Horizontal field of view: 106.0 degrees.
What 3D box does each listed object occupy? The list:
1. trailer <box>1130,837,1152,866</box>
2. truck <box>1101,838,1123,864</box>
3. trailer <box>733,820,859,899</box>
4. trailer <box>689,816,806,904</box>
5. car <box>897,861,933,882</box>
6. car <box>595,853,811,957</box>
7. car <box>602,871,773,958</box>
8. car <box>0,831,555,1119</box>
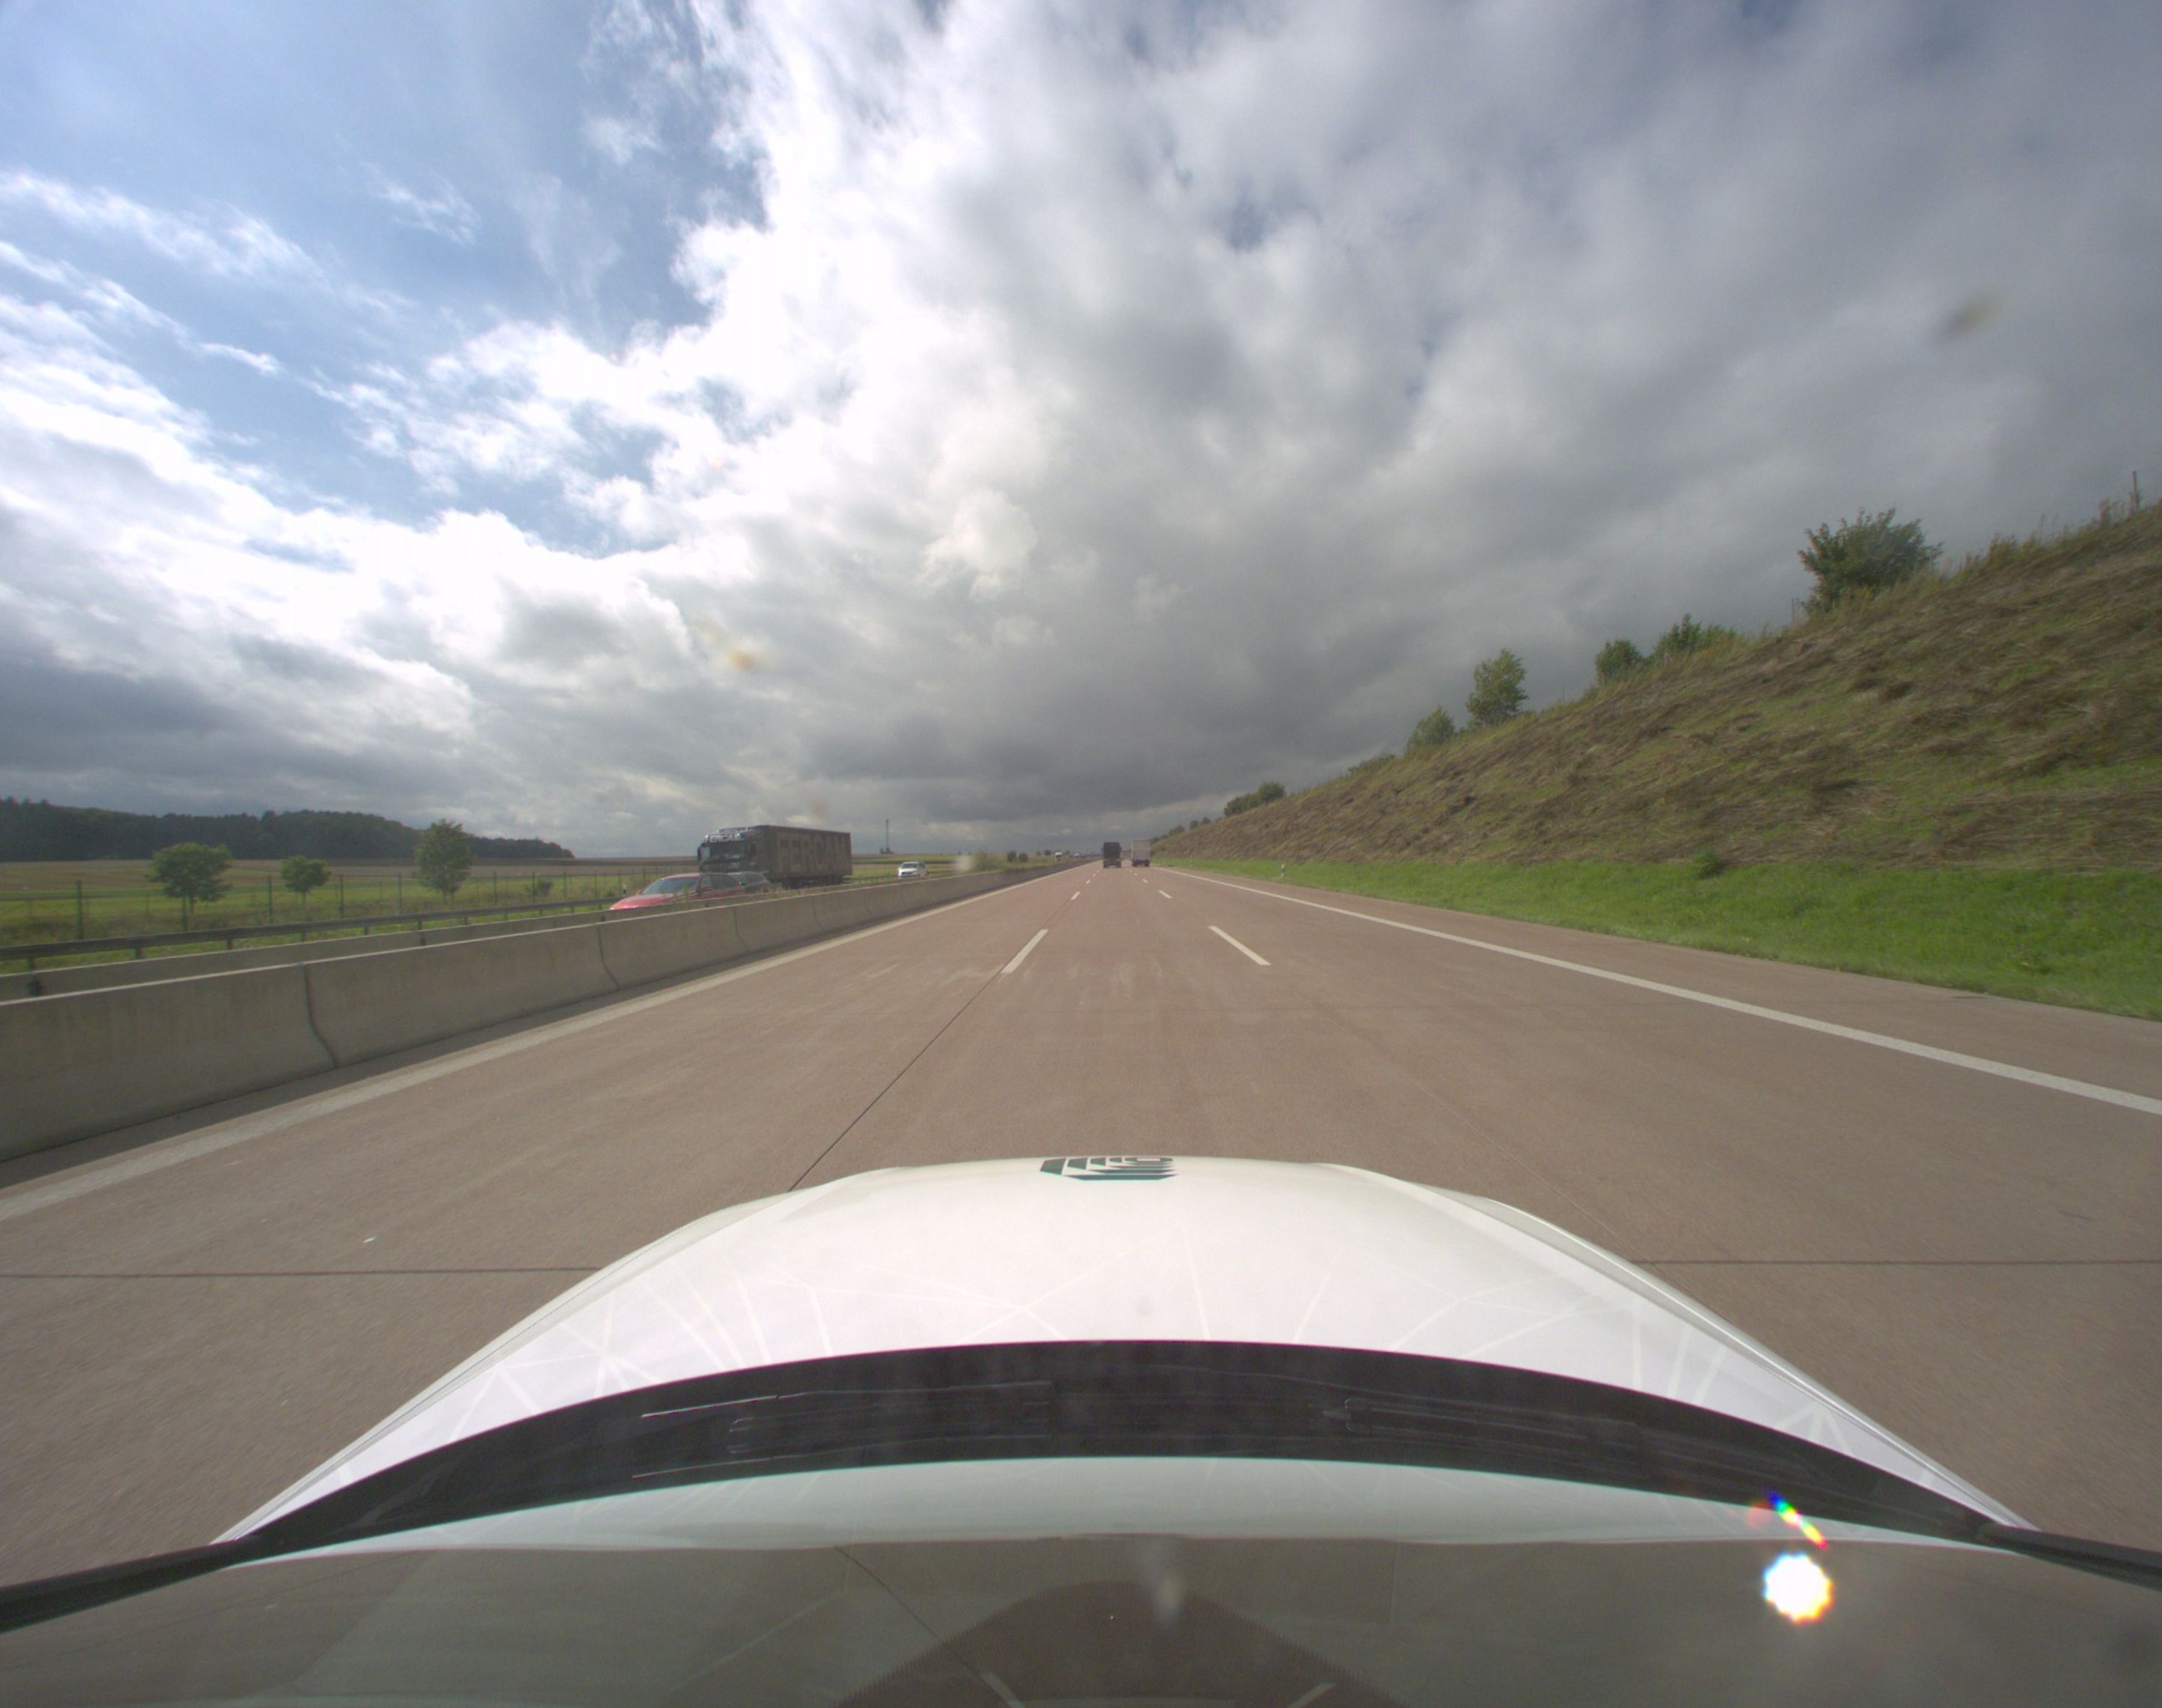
[{"bbox_3d":[8.858,-0.295,120.877,2.738,4.012,8.669,-1,-1,0],"label":"trailer"},{"bbox_3d":[4.261,-0.378,115.153,2.838,3.550,8.319,-1,-1,0],"label":"truck"},{"bbox_3d":[-17.063,0.278,50.064,3.009,4.264,12.102,0,0,2],"label":"trailer"},{"bbox_3d":[-17.369,0.300,43.018,2.995,4.248,7.013,0,0,2],"label":"trailer"},{"bbox_3d":[-16.151,1.635,79.554,2.051,1.846,5.731,-2,0,2],"label":"car"},{"bbox_3d":[-6.703,0.812,15.026,1.965,1.662,4.084,0,0,2],"label":"car"},{"bbox_3d":[-10.427,1.518,22.158,1.986,1.982,5.220,0,0,2],"label":"car"},{"bbox_3d":[-6.913,0.698,6.929,1.877,1.662,4.435,0,0,2],"label":"car"}]
